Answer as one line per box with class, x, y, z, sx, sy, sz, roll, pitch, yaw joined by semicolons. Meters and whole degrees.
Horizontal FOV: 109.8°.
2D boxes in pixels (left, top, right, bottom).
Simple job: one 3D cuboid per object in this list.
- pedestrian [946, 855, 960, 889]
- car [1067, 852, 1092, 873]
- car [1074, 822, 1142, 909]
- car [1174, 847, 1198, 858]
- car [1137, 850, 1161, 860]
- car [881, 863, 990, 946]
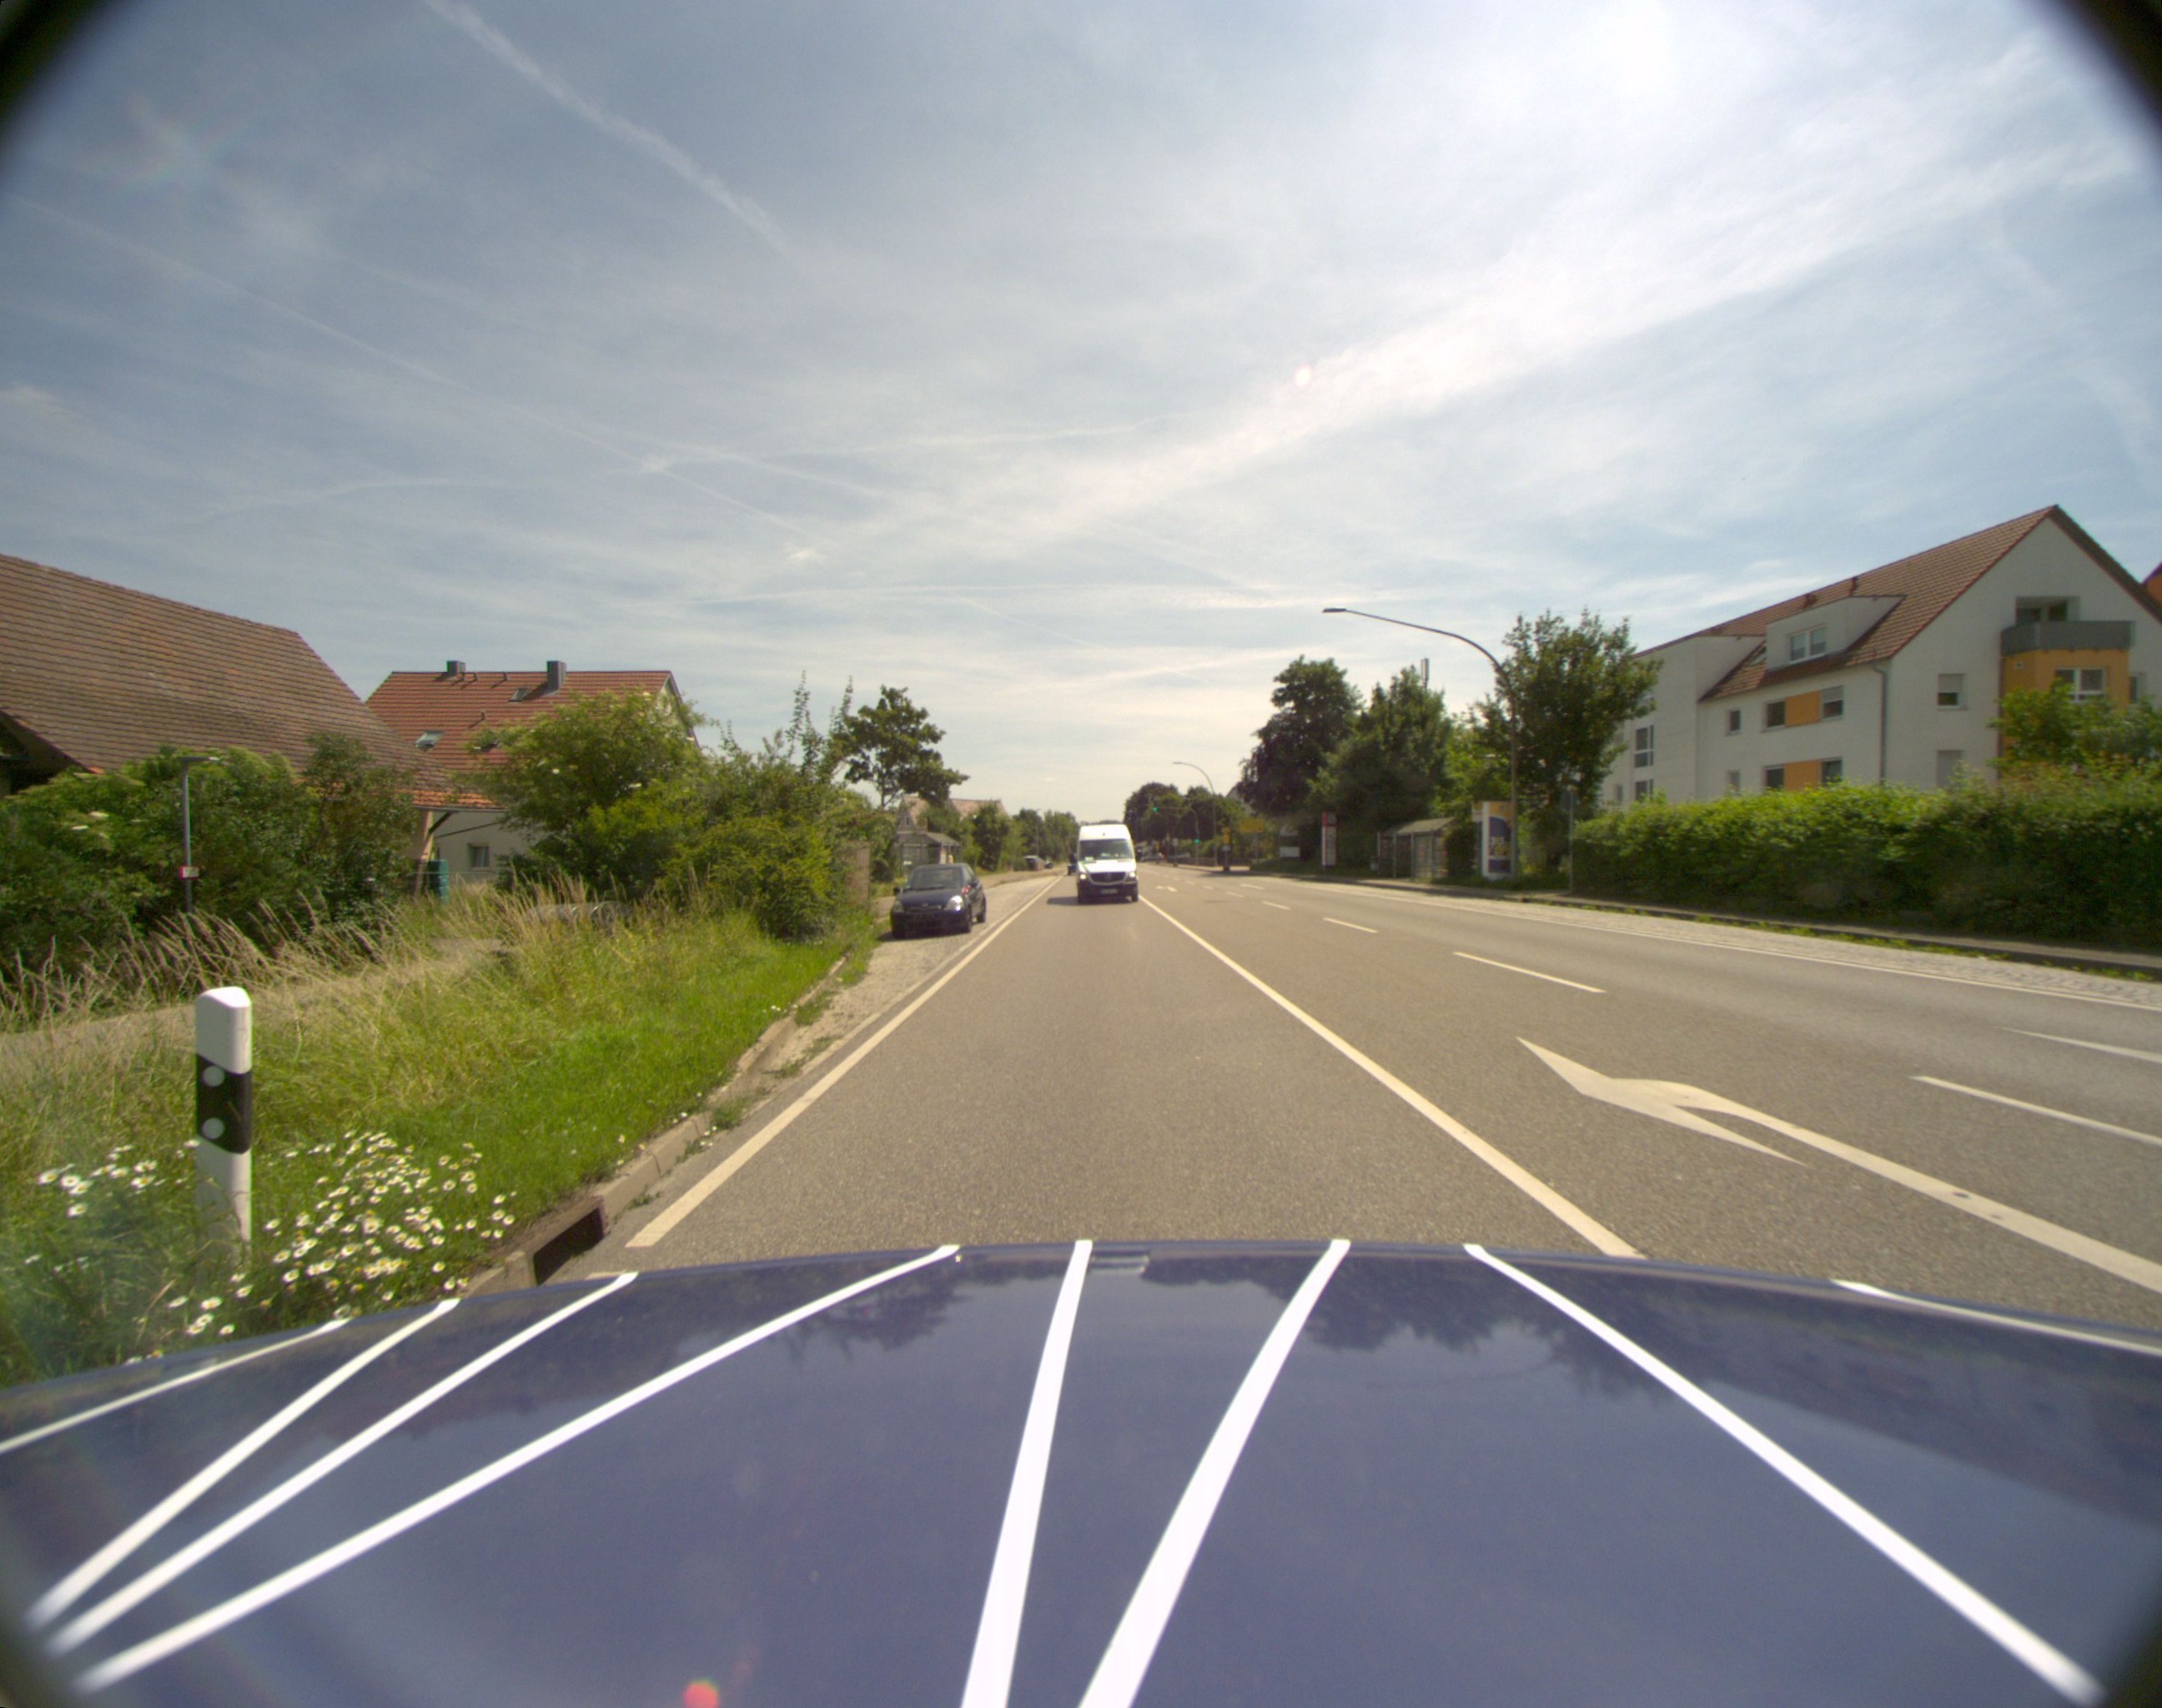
pedestrian;-6.093;0.852;36.183;0.522;1.540;0.562;-2;2;-17
car;-0.082;0.673;62.775;1.884;1.652;4.626;-2;0;1
car;0.858;0.313;25.354;1.939;2.514;5.749;-2;0;1
car;18.935;-0.322;137.475;3.998;1.760;1.999;-3;1;-3
car;12.285;0.170;137.192;3.998;1.744;1.999;-3;1;-4
car;-3.156;1.040;17.167;1.636;1.476;3.551;-4;1;1
